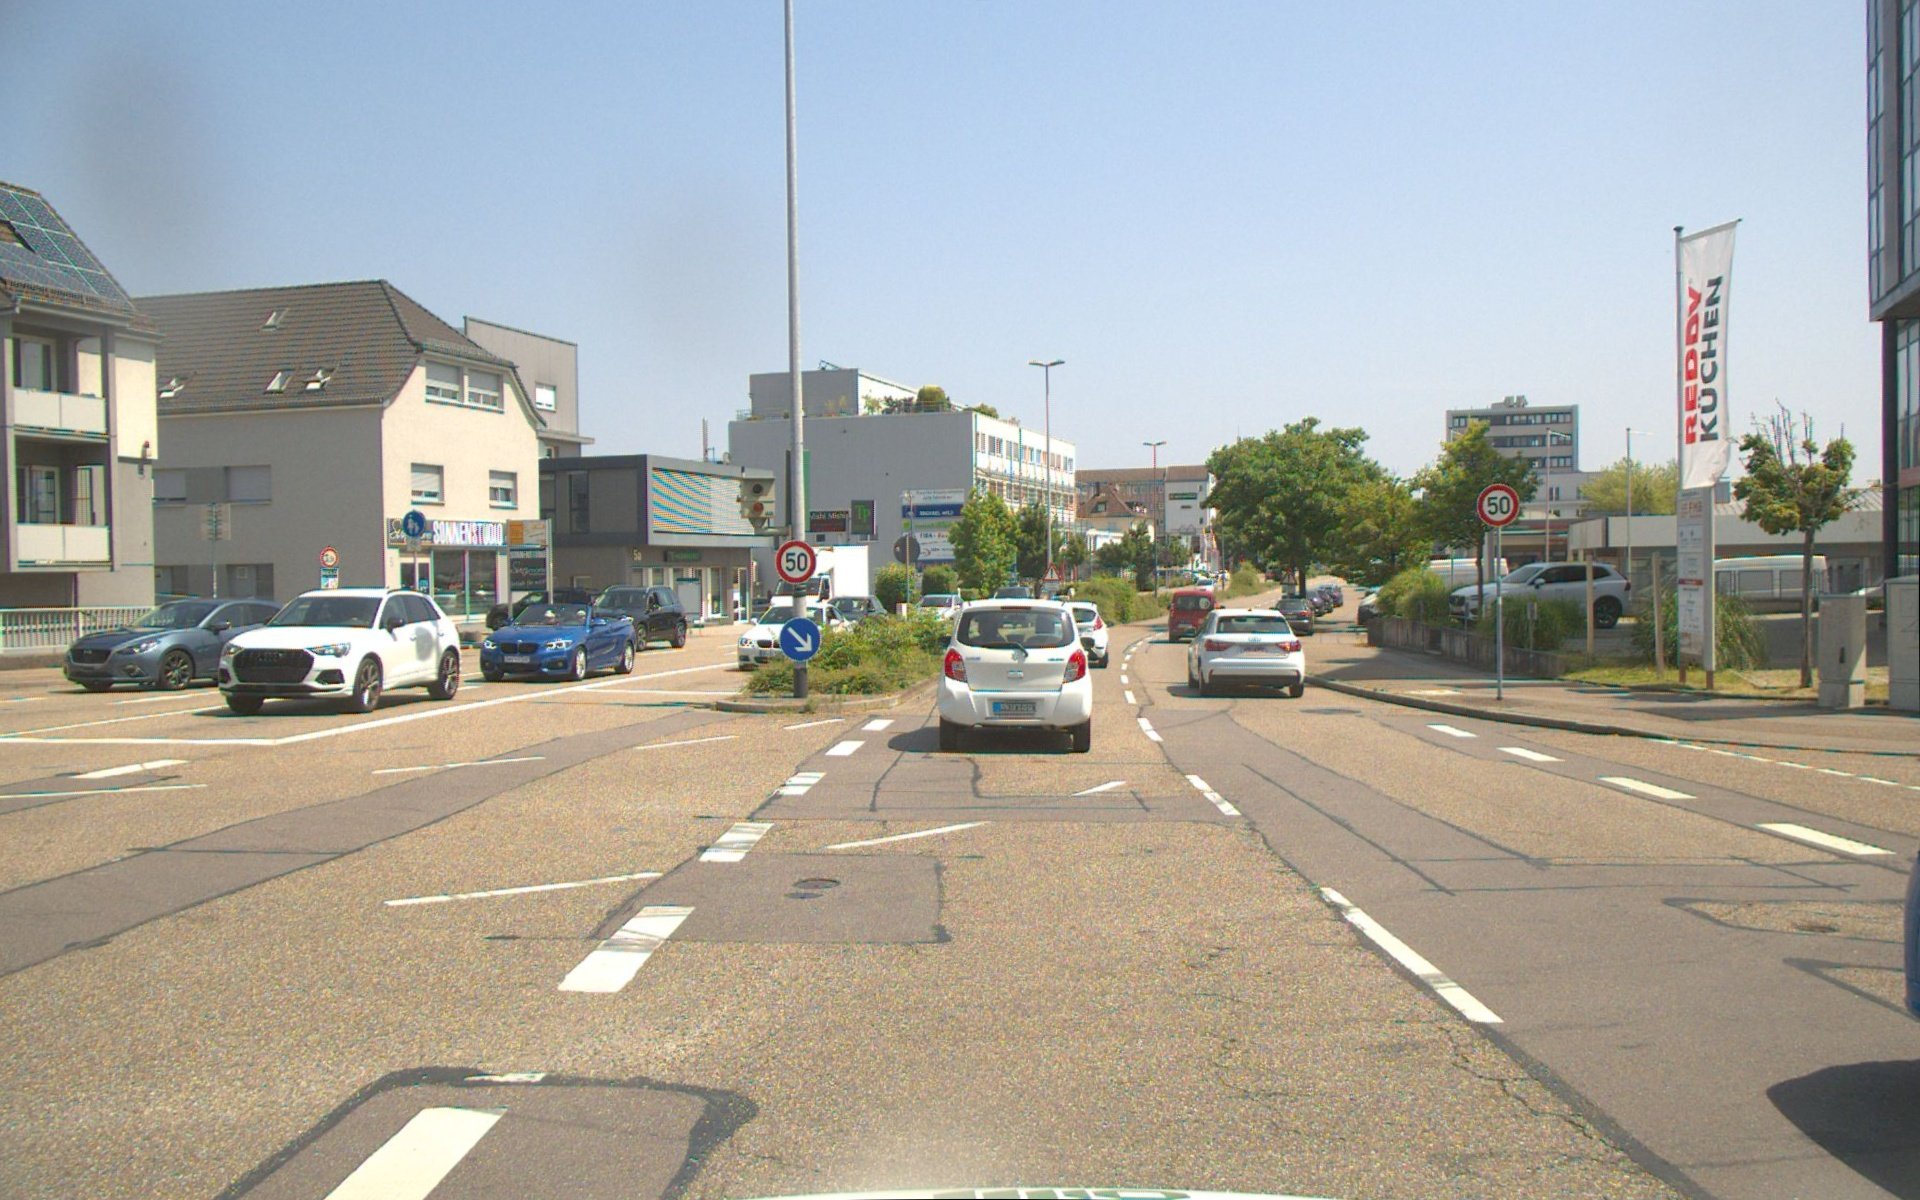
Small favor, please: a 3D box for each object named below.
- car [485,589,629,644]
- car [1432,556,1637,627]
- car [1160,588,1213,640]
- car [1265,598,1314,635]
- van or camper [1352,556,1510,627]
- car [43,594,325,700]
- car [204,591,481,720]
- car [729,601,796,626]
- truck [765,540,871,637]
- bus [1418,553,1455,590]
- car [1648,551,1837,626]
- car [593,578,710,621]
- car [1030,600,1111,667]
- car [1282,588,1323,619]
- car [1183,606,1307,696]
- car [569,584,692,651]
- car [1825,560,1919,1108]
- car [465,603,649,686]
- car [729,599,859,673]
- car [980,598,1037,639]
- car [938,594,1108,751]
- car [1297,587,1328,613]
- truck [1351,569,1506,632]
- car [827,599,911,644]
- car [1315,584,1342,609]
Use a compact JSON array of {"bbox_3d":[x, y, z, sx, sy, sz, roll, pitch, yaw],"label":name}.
[{"bbox_3d":[-14.059,0.556,57.774,4.508,1.655,1.855,3,1,15],"label":"car"},{"bbox_3d":[14.798,-0.197,42.718,4.639,1.743,1.995,1,-1,-10],"label":"car"},{"bbox_3d":[7.914,0.471,57.857,1.756,1.759,3.976,0,0,8],"label":"car"},{"bbox_3d":[13.360,0.637,66.911,1.759,1.430,4.324,1,0,14],"label":"car"},{"bbox_3d":[21.066,-0.384,74.174,6.652,2.948,2.277,-1,1,15],"label":"van or camper"},{"bbox_3d":[-12.562,0.697,27.078,1.461,1.474,4.270,0,2,24],"label":"car"},{"bbox_3d":[-8.368,0.690,22.911,1.778,1.597,4.558,0,0,5],"label":"car"},{"bbox_3d":[-12.857,0.872,107.536,3.887,1.493,1.966,-1,1,10],"label":"car"},{"bbox_3d":[-5.280,-0.374,62.808,2.216,3.477,7.044,0,-1,10],"label":"truck"},{"bbox_3d":[44.422,-2.695,154.011,2.746,3.132,12.292,0,2,19],"label":"bus"},{"bbox_3d":[27.417,-0.394,58.160,5.762,2.573,2.121,0,-1,18],"label":"car"},{"bbox_3d":[-11.971,-0.018,64.263,3.970,1.548,2.002,-1,0,12],"label":"car"},{"bbox_3d":[2.599,0.749,38.900,1.791,1.475,4.002,0,0,4],"label":"car"},{"bbox_3d":[19.839,0.159,95.597,1.919,1.556,5.165,-3,0,15],"label":"car"},{"bbox_3d":[4.771,0.817,28.129,1.632,1.424,3.794,0,0,3],"label":"car"},{"bbox_3d":[-8.734,0.425,44.244,1.951,1.685,4.597,-1,0,5],"label":"car"},{"bbox_3d":[3.846,0.690,3.241,1.874,1.625,4.393,0,0,-2],"label":"car"},{"bbox_3d":[-7.291,0.761,30.398,1.823,1.390,4.350,1,0,8],"label":"car"},{"bbox_3d":[-3.418,0.703,34.934,1.823,1.456,4.748,0,0,6],"label":"car"},{"bbox_3d":[2.220,0.841,74.642,1.868,1.781,4.764,0,-1,10],"label":"car"},{"bbox_3d":[0.723,0.738,18.046,1.676,1.537,3.248,1,-1,3],"label":"car"},{"bbox_3d":[21.624,-0.034,101.403,1.815,1.507,5.161,-1,1,12],"label":"car"},{"bbox_3d":[19.752,0.006,69.819,6.113,2.377,2.370,-2,1,17],"label":"truck"},{"bbox_3d":[-2.894,0.672,53.273,1.857,1.385,4.201,0,0,9],"label":"car"},{"bbox_3d":[25.016,-0.236,112.289,1.677,1.575,4.795,-2,0,13],"label":"car"}]
